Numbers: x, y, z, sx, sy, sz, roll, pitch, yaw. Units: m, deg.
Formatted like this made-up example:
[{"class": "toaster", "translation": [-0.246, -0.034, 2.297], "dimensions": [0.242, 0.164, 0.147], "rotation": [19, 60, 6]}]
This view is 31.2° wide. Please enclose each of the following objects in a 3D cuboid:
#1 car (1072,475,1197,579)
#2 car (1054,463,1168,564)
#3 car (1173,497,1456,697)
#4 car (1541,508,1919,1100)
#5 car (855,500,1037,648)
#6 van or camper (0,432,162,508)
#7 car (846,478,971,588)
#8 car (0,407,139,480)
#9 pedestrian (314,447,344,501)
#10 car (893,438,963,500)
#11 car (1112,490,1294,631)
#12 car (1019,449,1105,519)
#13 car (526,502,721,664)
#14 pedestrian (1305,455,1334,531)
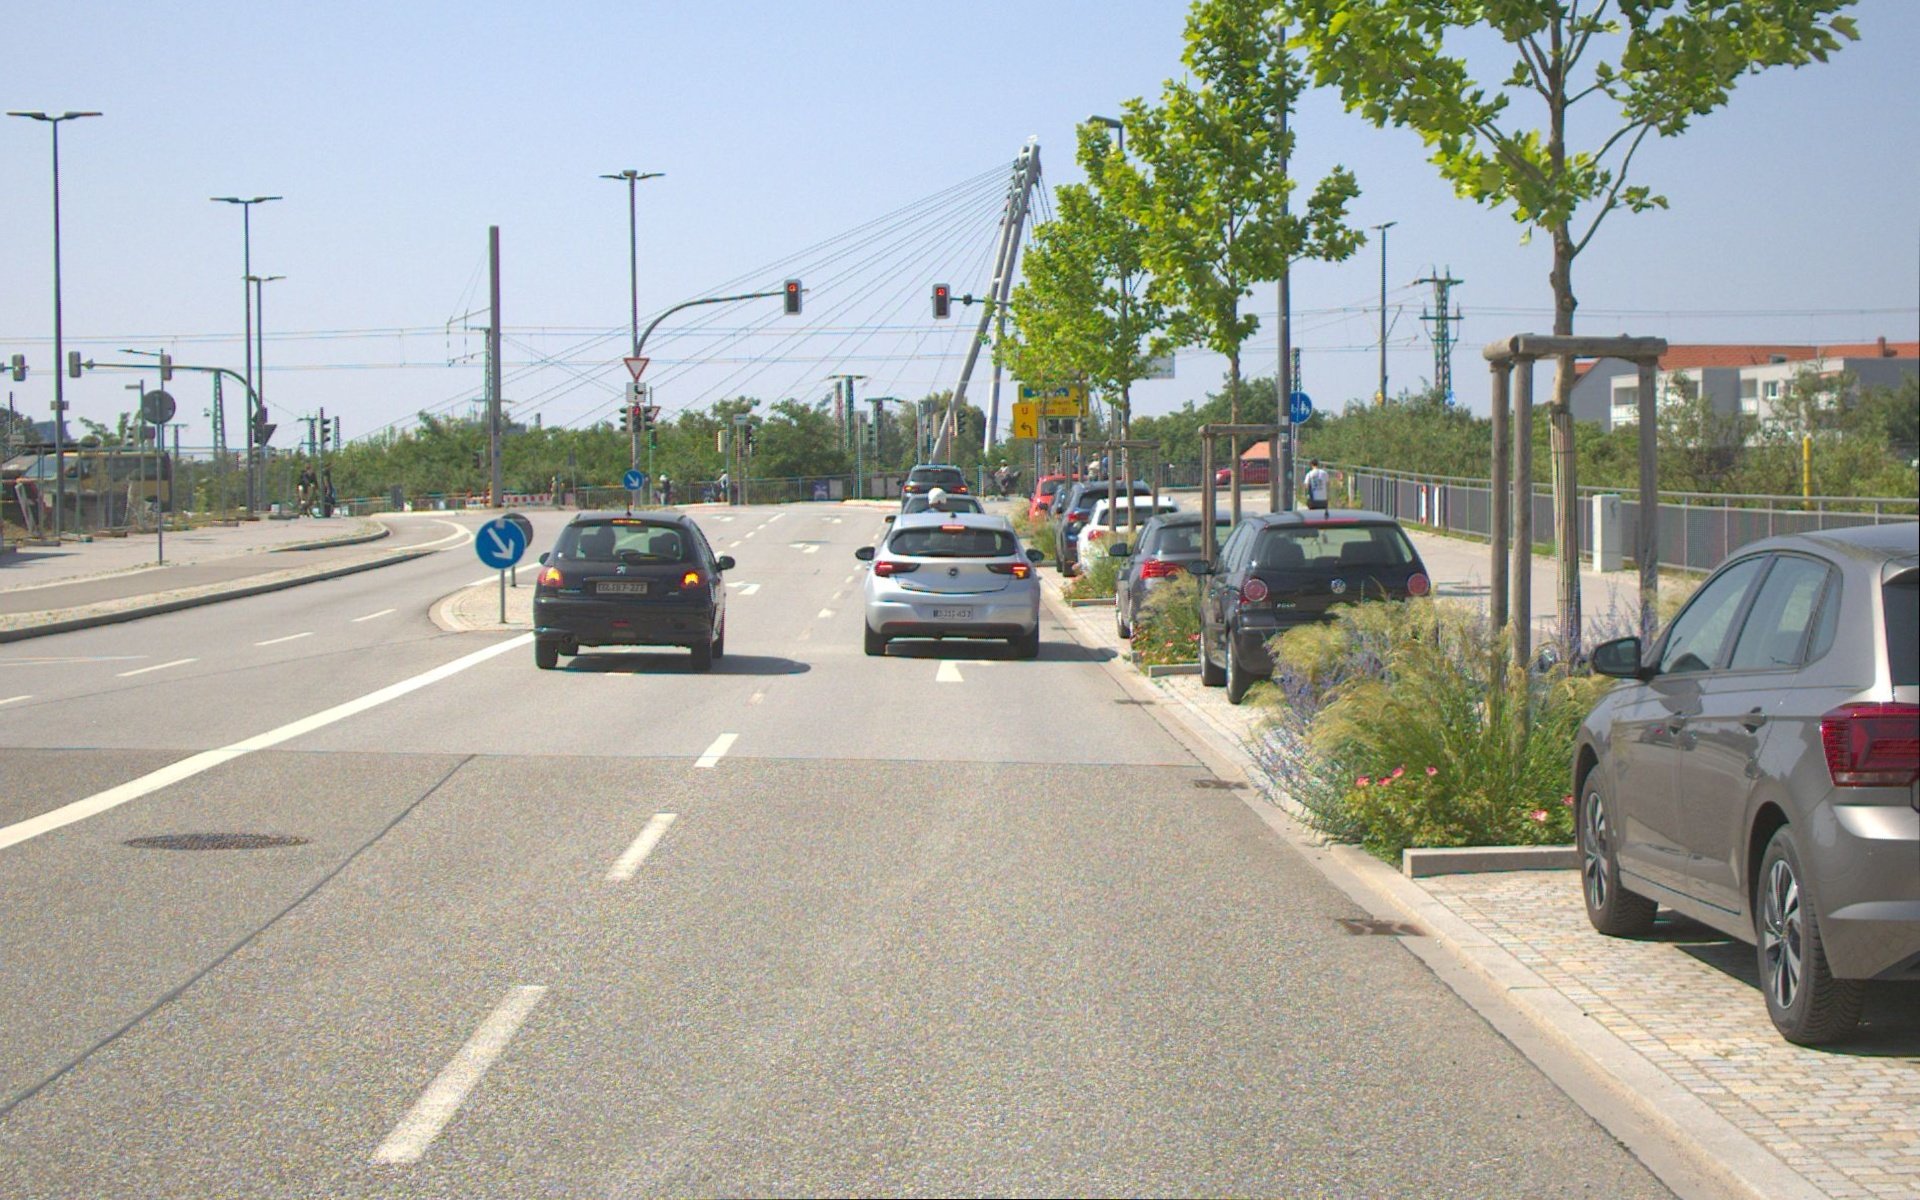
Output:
[{"class": "car", "translation": [2.638, -1.155, 52.813], "dimensions": [1.696, 1.470, 4.206], "rotation": [-2, 2, 0]}, {"class": "car", "translation": [2.586, -1.520, 59.466], "dimensions": [1.822, 1.611, 3.611], "rotation": [-2, 3, 1]}, {"class": "car", "translation": [2.804, -0.051, 27.949], "dimensions": [1.704, 1.457, 3.954], "rotation": [-2, 1, -2]}, {"class": "car", "translation": [3.059, 0.470, 10.848], "dimensions": [1.704, 1.457, 3.955], "rotation": [-2, 2, -1]}, {"class": "car", "translation": [-0.131, -0.317, 35.775], "dimensions": [1.778, 1.437, 4.000], "rotation": [0, 2, 0]}, {"class": "van or camper", "translation": [-24.216, -3.494, 93.182], "dimensions": [1.999, 1.891, 4.706], "rotation": [2, 1, 43]}, {"class": "car", "translation": [-0.735, -1.016, 51.013], "dimensions": [1.778, 1.563, 4.000], "rotation": [0, 2, 0]}, {"class": "car", "translation": [-25.579, -4.434, 97.726], "dimensions": [1.998, 2.006, 3.991], "rotation": [2, 3, 39]}, {"class": "pedestrian", "translation": [-19.384, -3.866, 105.588], "dimensions": [0.844, 1.641, 0.828], "rotation": [0, 2, -5]}, {"class": "car", "translation": [-0.813, -3.435, 89.543], "dimensions": [1.778, 1.563, 4.001], "rotation": [0, 3, 0]}, {"class": "car", "translation": [2.587, -0.452, 37.358], "dimensions": [1.704, 1.397, 4.270], "rotation": [-2, 1, 1]}, {"class": "car", "translation": [2.272, -2.624, 77.347], "dimensions": [1.778, 1.498, 4.001], "rotation": [-1, 2, 0]}, {"class": "car", "translation": [-3.097, -0.202, 32.223], "dimensions": [1.619, 1.411, 3.728], "rotation": [0, 2, -3]}, {"class": "pedestrian", "translation": [7.590, -2.255, 72.628], "dimensions": [0.533, 1.570, 0.524], "rotation": [1, 1, 0]}]
